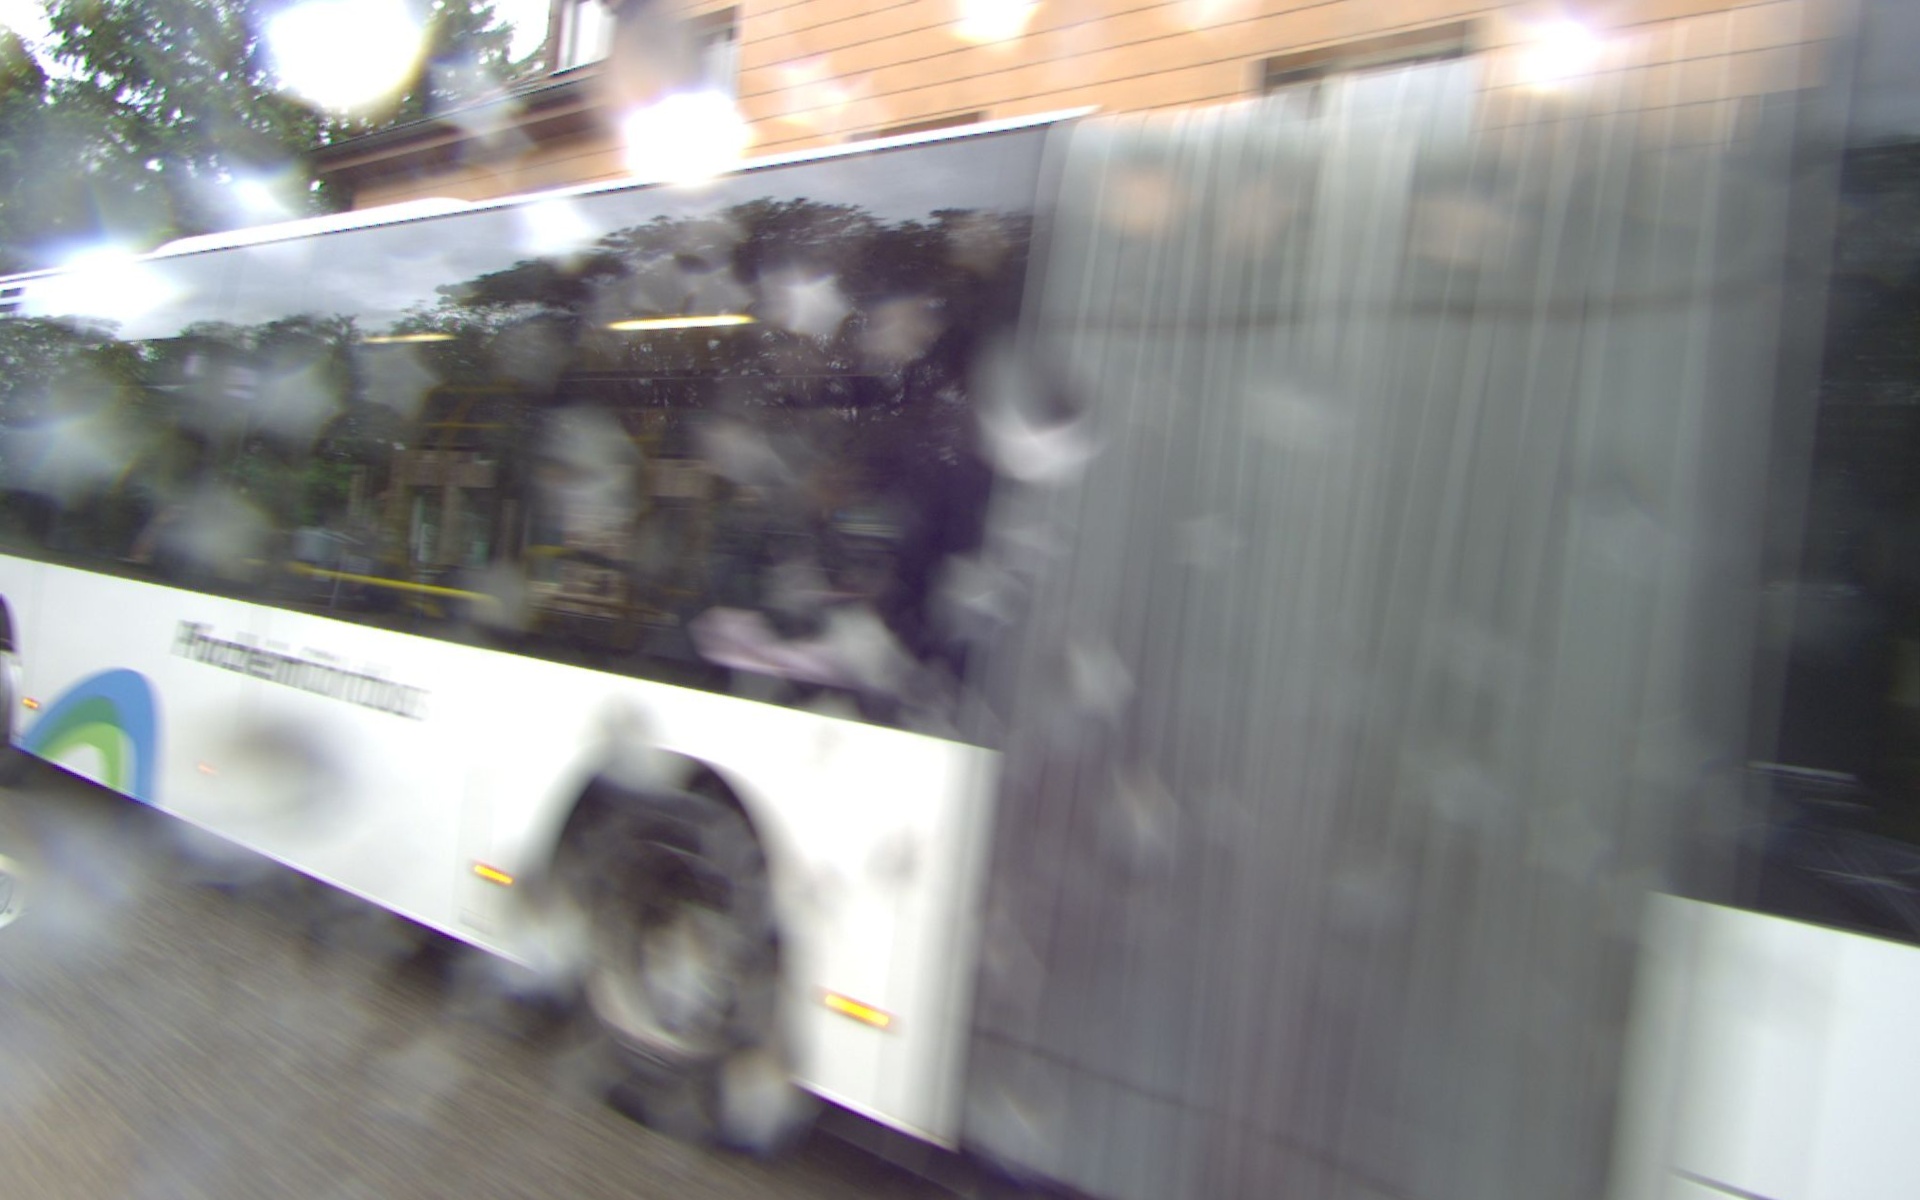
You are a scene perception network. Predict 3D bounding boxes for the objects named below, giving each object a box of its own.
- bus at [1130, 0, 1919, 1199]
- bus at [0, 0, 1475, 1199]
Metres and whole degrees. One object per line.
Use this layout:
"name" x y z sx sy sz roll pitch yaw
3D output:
"bus" 4.601 0.704 0.633 8.422 2.995 2.557 7 0 35
"bus" -2.694 -0.250 5.322 9.289 2.995 2.561 7 0 30
